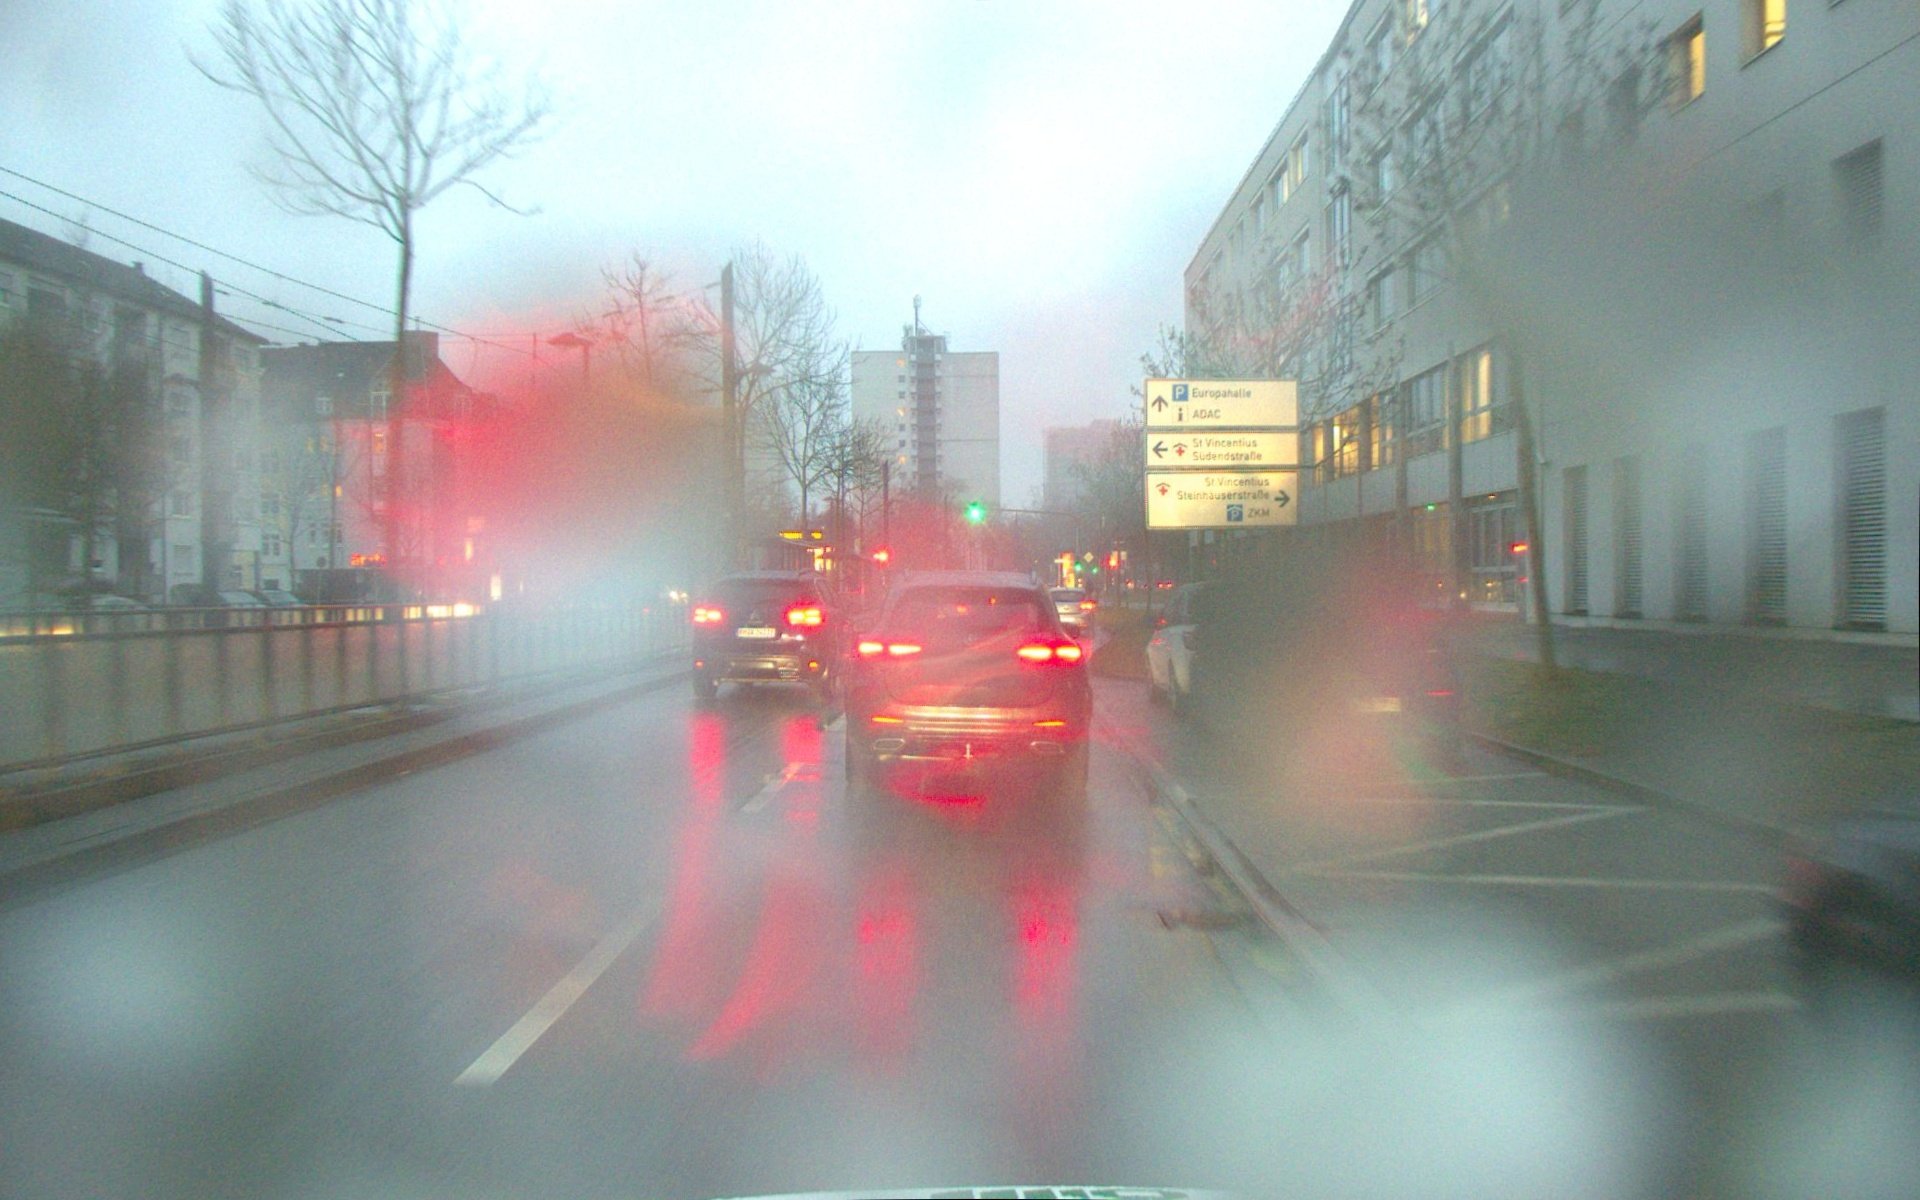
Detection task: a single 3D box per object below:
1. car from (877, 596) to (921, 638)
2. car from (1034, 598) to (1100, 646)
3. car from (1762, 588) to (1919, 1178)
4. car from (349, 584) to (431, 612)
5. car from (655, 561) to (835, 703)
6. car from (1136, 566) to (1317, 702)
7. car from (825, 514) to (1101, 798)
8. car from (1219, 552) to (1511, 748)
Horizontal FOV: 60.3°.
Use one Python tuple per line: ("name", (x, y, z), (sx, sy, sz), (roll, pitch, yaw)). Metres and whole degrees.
("car", (-3.056, 0.833, 83.593), (1.912, 2.069, 4.883), (0, 0, 1))
("car", (3.367, 0.666, 52.470), (1.848, 1.377, 4.102), (1, 1, 1))
("car", (3.174, 0.701, 2.824), (1.563, 1.465, 4.228), (1, -1, 0))
("car", (-30.243, -0.092, 87.836), (3.723, 1.390, 1.697), (1, -1, -4))
("car", (-2.846, 0.418, 22.796), (1.953, 1.742, 4.323), (1, -1, -1))
("car", (3.072, 0.346, 19.656), (1.559, 1.418, 3.487), (-2, 1, 0))
("car", (-0.050, 0.425, 13.916), (1.953, 2.010, 4.066), (1, -1, -2))
("car", (3.350, 0.343, 14.462), (1.717, 1.427, 4.252), (1, 1, 3))
